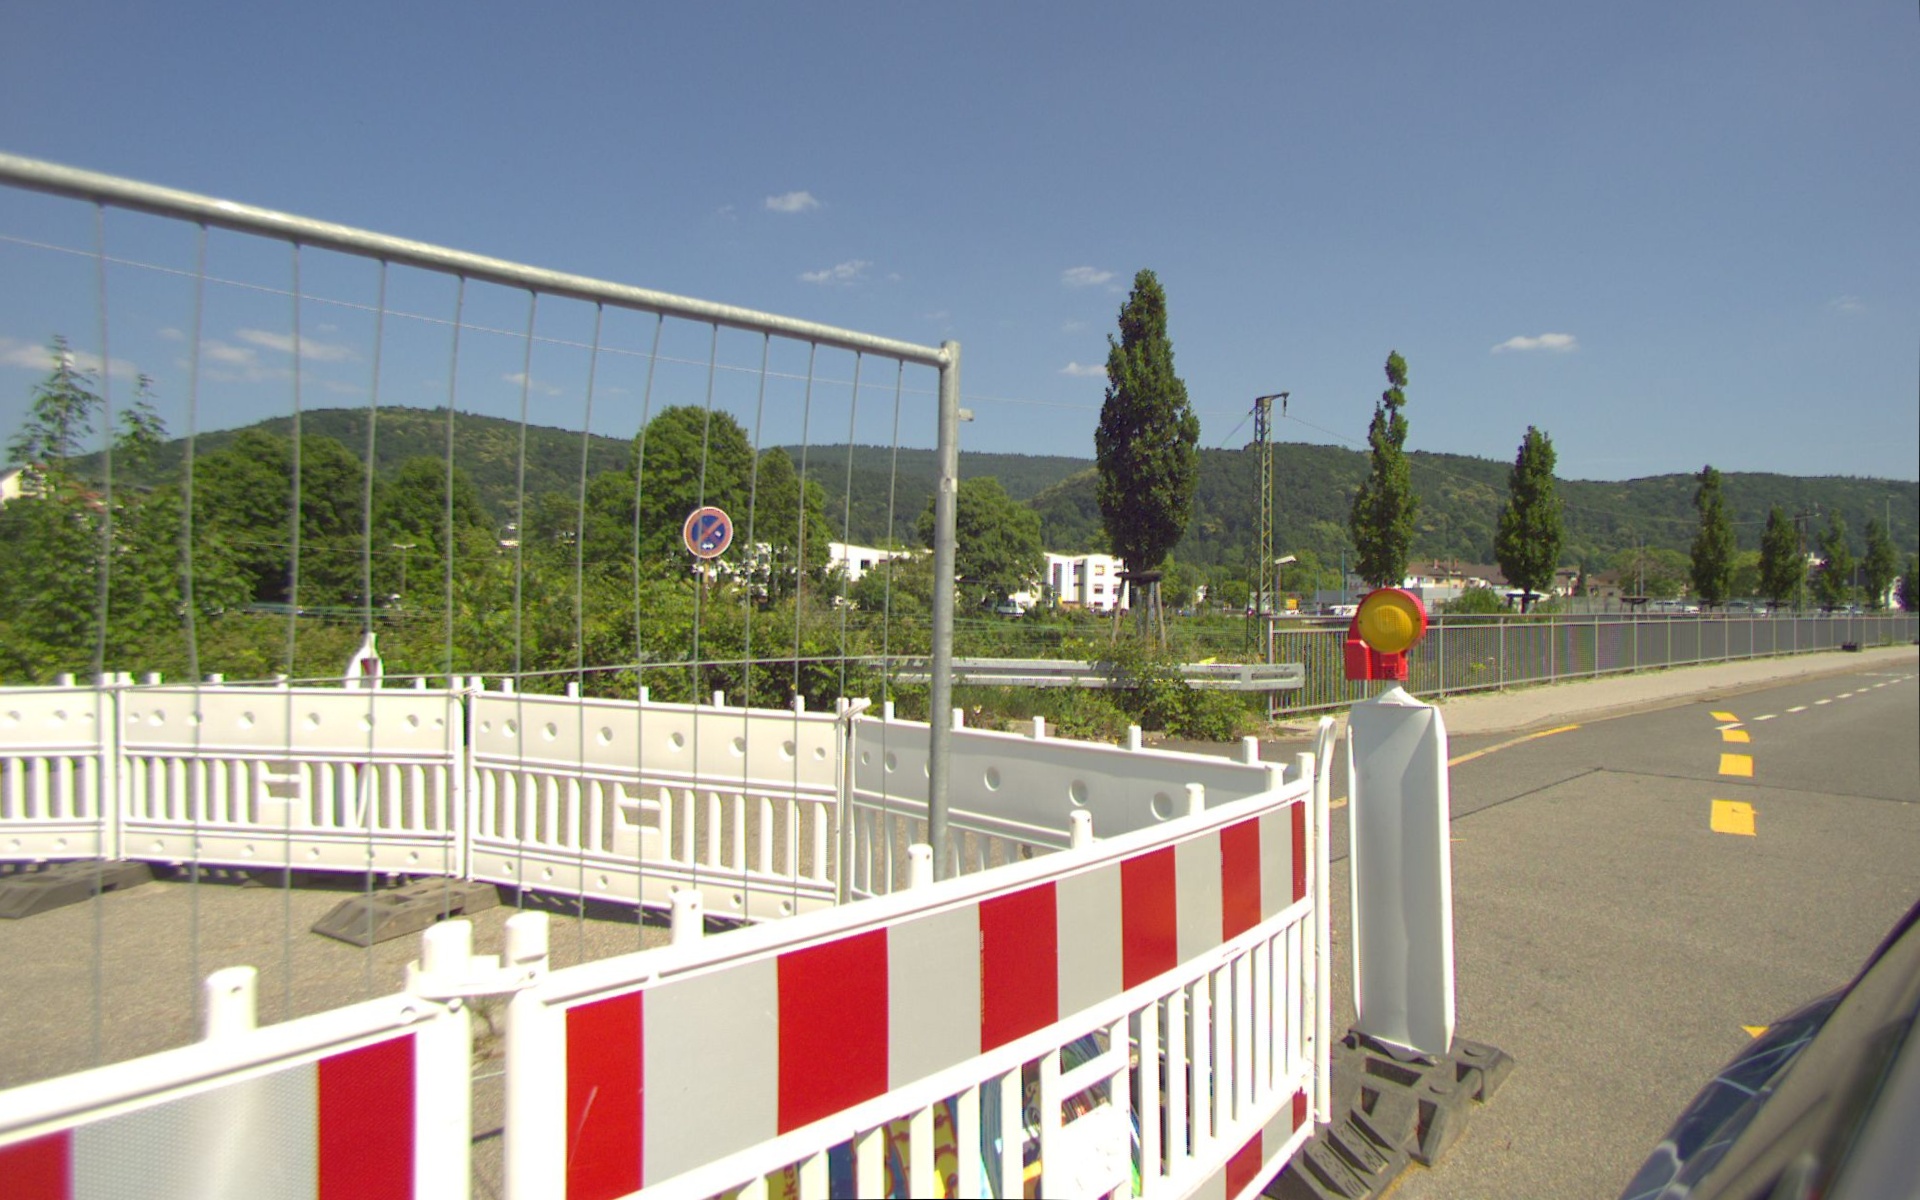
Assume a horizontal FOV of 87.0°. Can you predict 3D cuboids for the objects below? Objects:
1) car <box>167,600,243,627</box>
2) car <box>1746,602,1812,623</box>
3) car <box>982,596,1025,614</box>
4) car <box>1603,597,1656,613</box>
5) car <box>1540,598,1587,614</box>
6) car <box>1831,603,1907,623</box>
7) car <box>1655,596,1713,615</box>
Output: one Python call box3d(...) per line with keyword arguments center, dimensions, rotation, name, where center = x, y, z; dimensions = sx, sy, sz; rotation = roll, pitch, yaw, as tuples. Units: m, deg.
box3d(center=(-62.310, 1.101, 83.657), dimensions=(4.894, 2.139, 2.000), rotation=(1, -1, -34), name="car")
box3d(center=(71.930, 1.107, 88.934), dimensions=(1.700, 1.647, 4.449), rotation=(3, -2, -12), name="car")
box3d(center=(5.235, 0.573, 121.114), dimensions=(4.892, 2.139, 2.001), rotation=(1, -1, -32), name="car")
box3d(center=(68.311, 0.528, 103.312), dimensions=(1.700, 1.647, 4.451), rotation=(1, -1, -19), name="car")
box3d(center=(66.910, 0.655, 112.220), dimensions=(1.700, 1.647, 4.450), rotation=(3, -2, -18), name="car")
box3d(center=(73.397, 1.100, 81.815), dimensions=(1.700, 1.488, 4.417), rotation=(3, -2, -12), name="car")
box3d(center=(69.861, 0.529, 97.767), dimensions=(1.700, 1.647, 4.450), rotation=(3, -2, -18), name="car")
